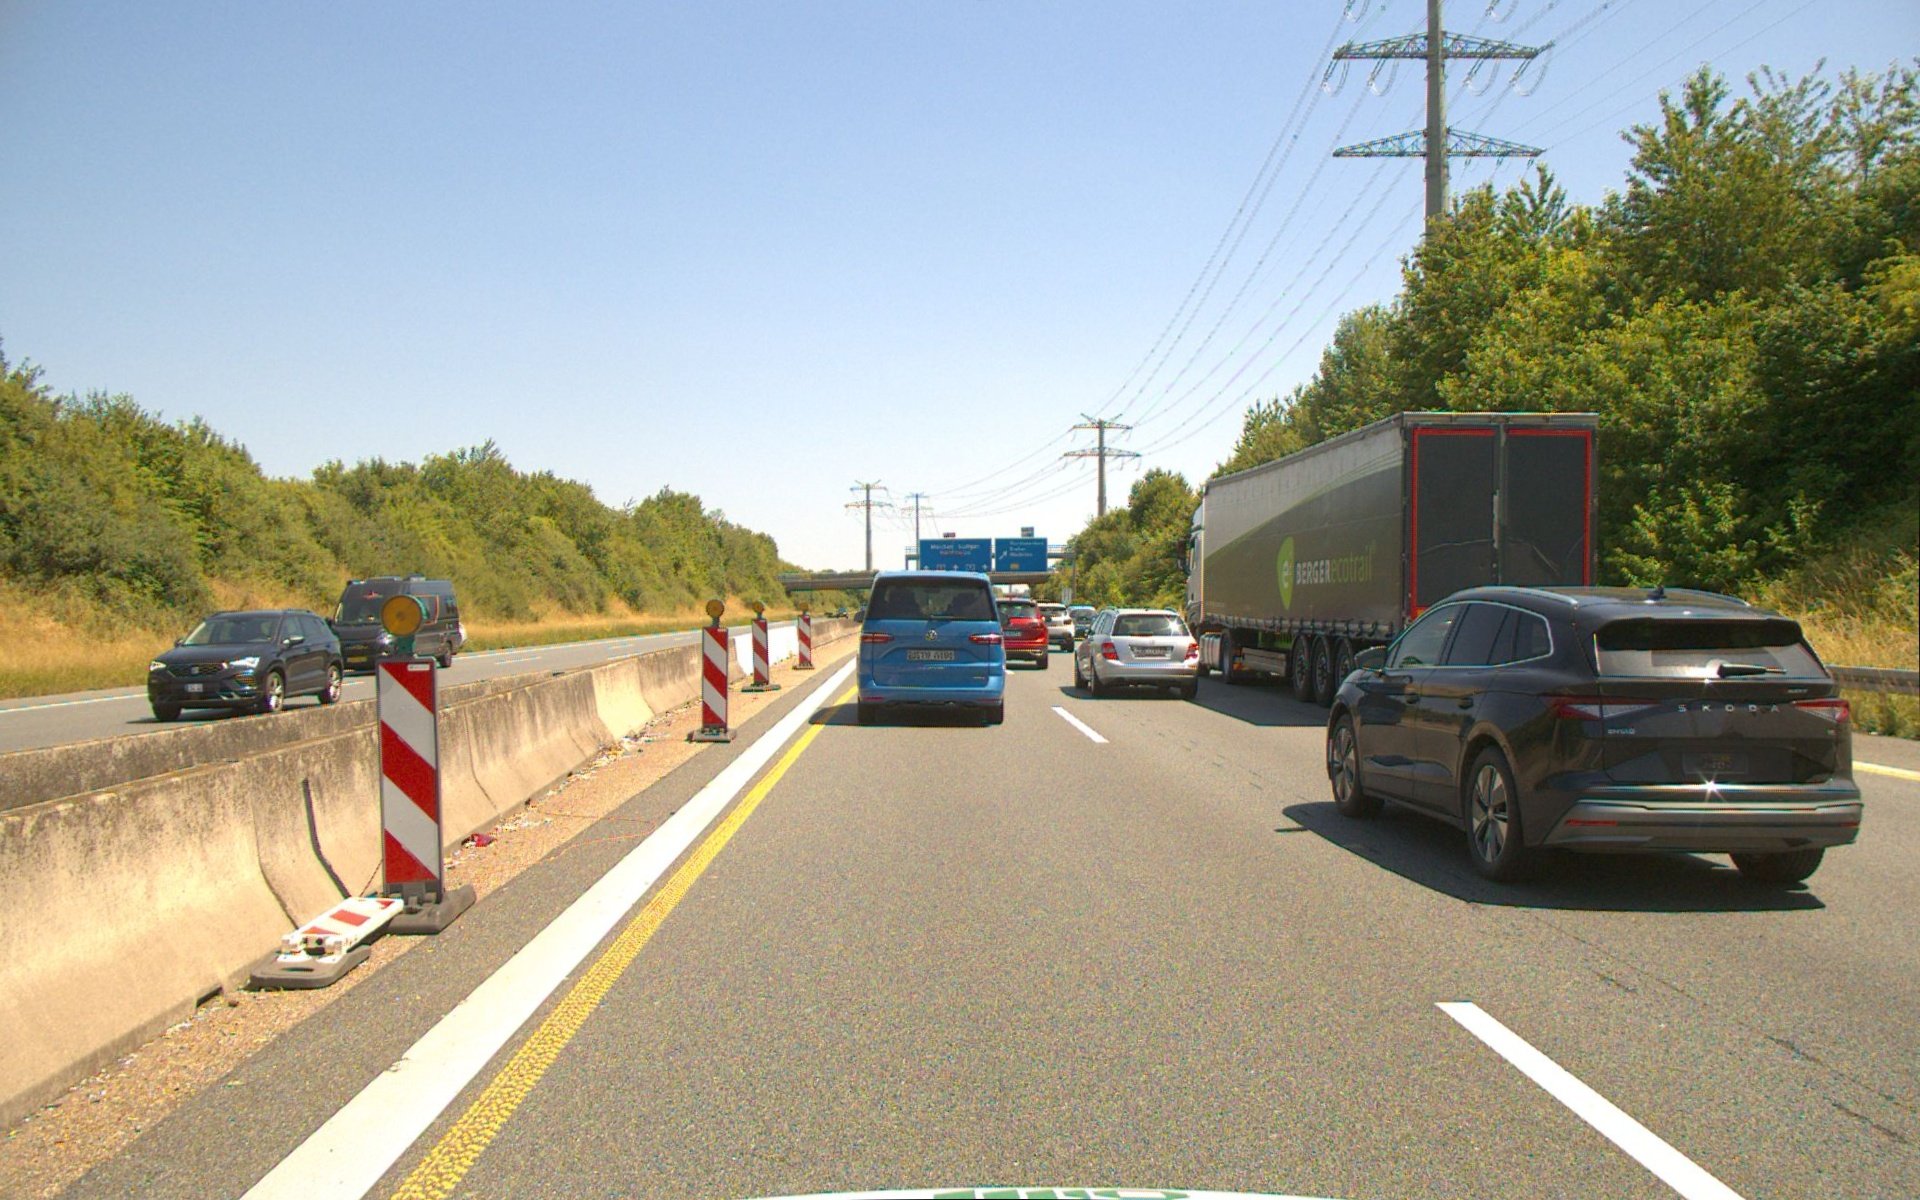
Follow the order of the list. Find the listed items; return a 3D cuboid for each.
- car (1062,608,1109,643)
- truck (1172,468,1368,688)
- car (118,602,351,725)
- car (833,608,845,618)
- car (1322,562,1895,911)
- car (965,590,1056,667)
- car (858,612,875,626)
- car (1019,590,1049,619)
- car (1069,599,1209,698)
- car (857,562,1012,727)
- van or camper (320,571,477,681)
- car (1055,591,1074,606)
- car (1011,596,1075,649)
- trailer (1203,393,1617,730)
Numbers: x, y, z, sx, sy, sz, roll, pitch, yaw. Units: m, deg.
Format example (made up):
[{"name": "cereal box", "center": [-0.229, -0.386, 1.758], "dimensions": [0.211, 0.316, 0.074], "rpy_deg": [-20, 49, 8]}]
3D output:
[{"name": "car", "center": [5.553, 1.101, 73.610], "dimensions": [1.666, 1.473, 3.786], "rpy_deg": [1, 0, -2]}, {"name": "truck", "center": [6.253, -0.403, 34.265], "dimensions": [2.678, 4.118, 5.790], "rpy_deg": [1, 0, -3]}, {"name": "car", "center": [-11.438, 0.931, 26.425], "dimensions": [1.954, 1.713, 4.151], "rpy_deg": [-2, 0, -2]}, {"name": "car", "center": [-18.632, 1.998, 253.970], "dimensions": [1.674, 1.490, 3.847], "rpy_deg": [-2, 0, -2]}, {"name": "car", "center": [3.683, 0.686, 10.344], "dimensions": [1.667, 1.684, 4.427], "rpy_deg": [1, 0, -3]}, {"name": "car", "center": [1.156, 0.656, 39.626], "dimensions": [1.837, 1.700, 4.357], "rpy_deg": [1, 0, -2]}, {"name": "car", "center": [-11.069, 2.260, 196.553], "dimensions": [1.824, 1.516, 4.492], "rpy_deg": [-1, 0, -1]}, {"name": "car", "center": [5.250, 0.328, 117.606], "dimensions": [1.761, 2.049, 4.225], "rpy_deg": [1, 0, -2]}, {"name": "car", "center": [2.982, 0.780, 28.399], "dimensions": [1.735, 1.544, 4.357], "rpy_deg": [1, 0, -2]}, {"name": "car", "center": [-0.393, 0.545, 22.089], "dimensions": [1.837, 1.945, 4.357], "rpy_deg": [1, 0, -2]}, {"name": "van or camper", "center": [-15.613, 0.687, 46.497], "dimensions": [2.178, 2.758, 7.077], "rpy_deg": [-3, 0, -3]}, {"name": "car", "center": [12.486, -0.173, 198.137], "dimensions": [1.837, 1.700, 4.357], "rpy_deg": [1, 0, -2]}, {"name": "car", "center": [2.677, 0.728, 54.063], "dimensions": [1.761, 1.622, 4.225], "rpy_deg": [1, 0, -2]}, {"name": "trailer", "center": [6.540, -0.439, 27.008], "dimensions": [2.727, 4.118, 13.106], "rpy_deg": [1, 0, -2]}]
